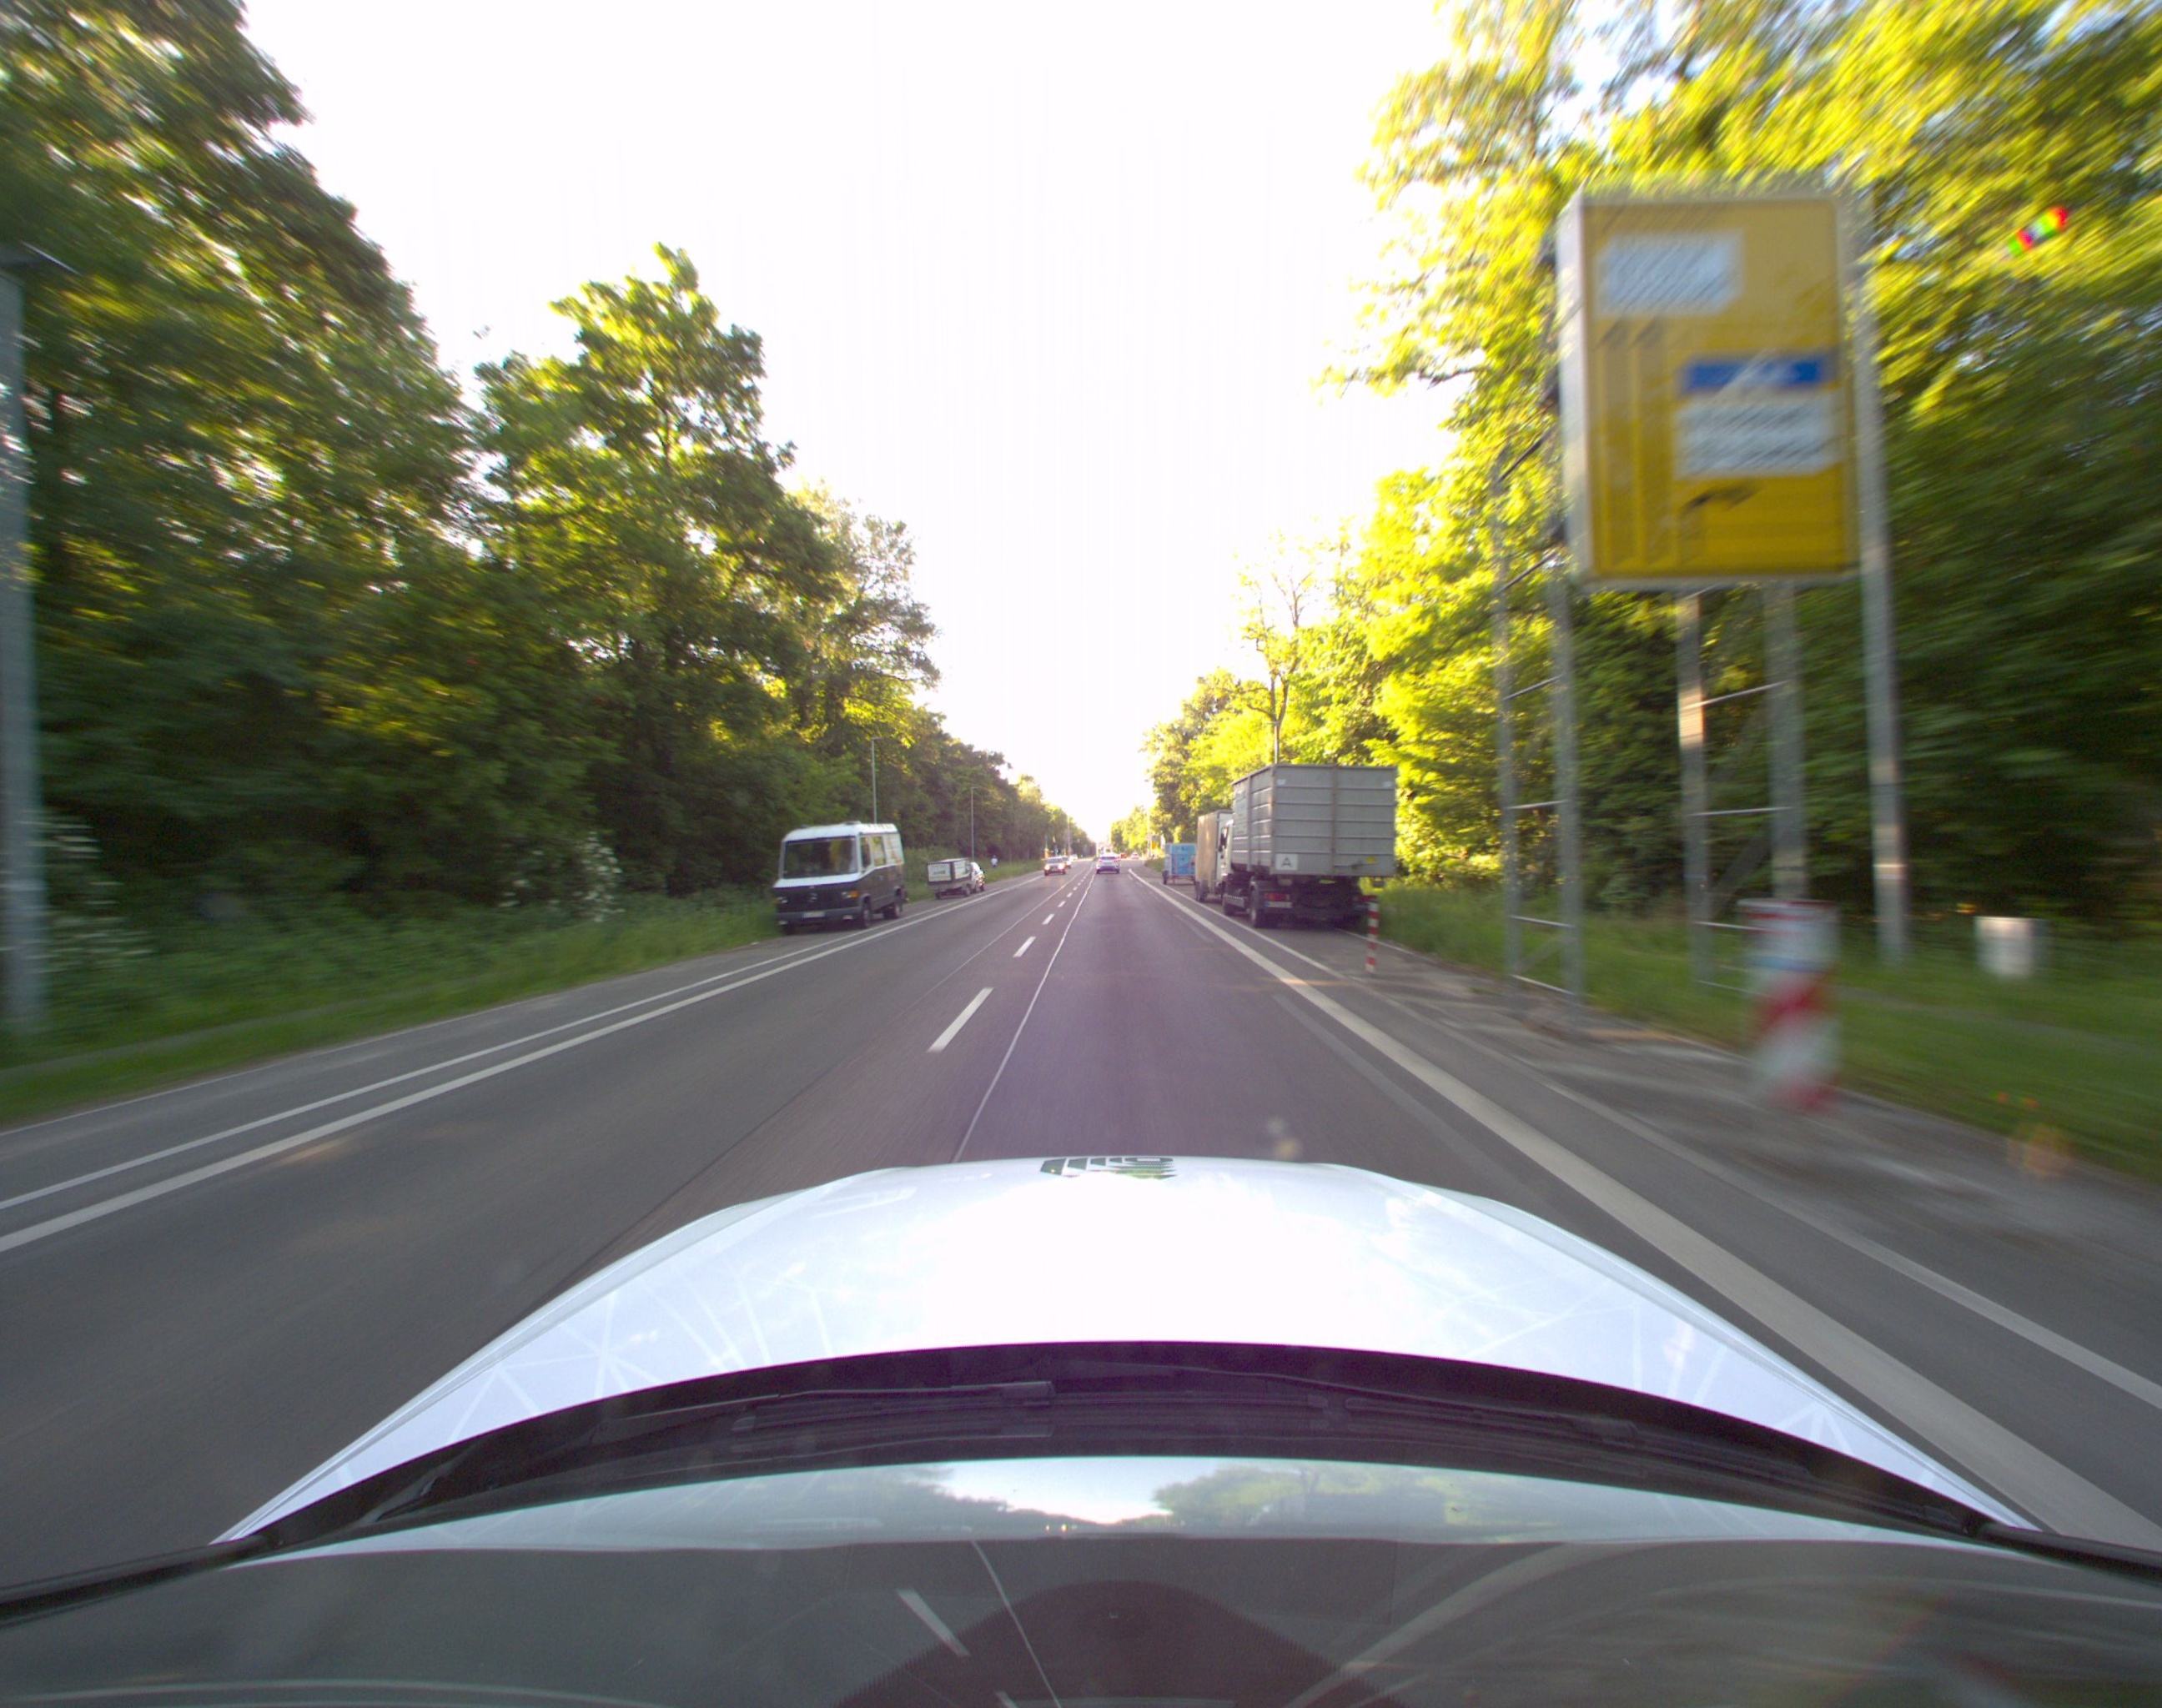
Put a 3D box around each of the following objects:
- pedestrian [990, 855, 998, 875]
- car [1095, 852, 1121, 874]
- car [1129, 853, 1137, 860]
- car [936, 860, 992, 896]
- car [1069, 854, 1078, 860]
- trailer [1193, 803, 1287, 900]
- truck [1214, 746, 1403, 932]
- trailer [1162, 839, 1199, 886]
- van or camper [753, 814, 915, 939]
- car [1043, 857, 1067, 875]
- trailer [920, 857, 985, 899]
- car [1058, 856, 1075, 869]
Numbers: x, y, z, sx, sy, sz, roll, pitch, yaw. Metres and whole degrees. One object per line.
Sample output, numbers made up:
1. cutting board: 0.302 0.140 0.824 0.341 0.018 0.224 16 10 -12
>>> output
1. pedestrian: -9.114 1.153 85.406 0.691 2.013 0.713 0 0 2
2. car: 2.122 0.662 64.449 1.986 1.640 4.001 -2 0 1
3. car: 12.628 0.533 197.896 1.985 1.618 4.003 0 0 3
4. car: -5.622 1.144 39.741 1.860 1.463 4.135 -5 0 2
5. car: -1.910 0.859 202.427 1.986 1.464 4.001 -1 0 1
6. trailer: 5.026 -0.081 26.548 2.263 2.844 5.210 0 0 3
7. truck: 4.734 -0.261 18.437 2.495 3.366 7.111 -1 0 2
8. trailer: 5.078 0.409 41.837 1.494 2.235 4.552 0 0 2
9. van or camper: -6.370 0.512 21.899 2.293 2.768 5.559 -4 0 2
10. car: -2.080 0.963 66.765 1.672 1.415 4.002 -2 0 2
11. trailer: -5.485 1.000 35.207 1.459 1.659 3.378 -4 -1 14
12. car: -1.687 0.973 95.259 1.672 1.490 4.692 -2 0 2
